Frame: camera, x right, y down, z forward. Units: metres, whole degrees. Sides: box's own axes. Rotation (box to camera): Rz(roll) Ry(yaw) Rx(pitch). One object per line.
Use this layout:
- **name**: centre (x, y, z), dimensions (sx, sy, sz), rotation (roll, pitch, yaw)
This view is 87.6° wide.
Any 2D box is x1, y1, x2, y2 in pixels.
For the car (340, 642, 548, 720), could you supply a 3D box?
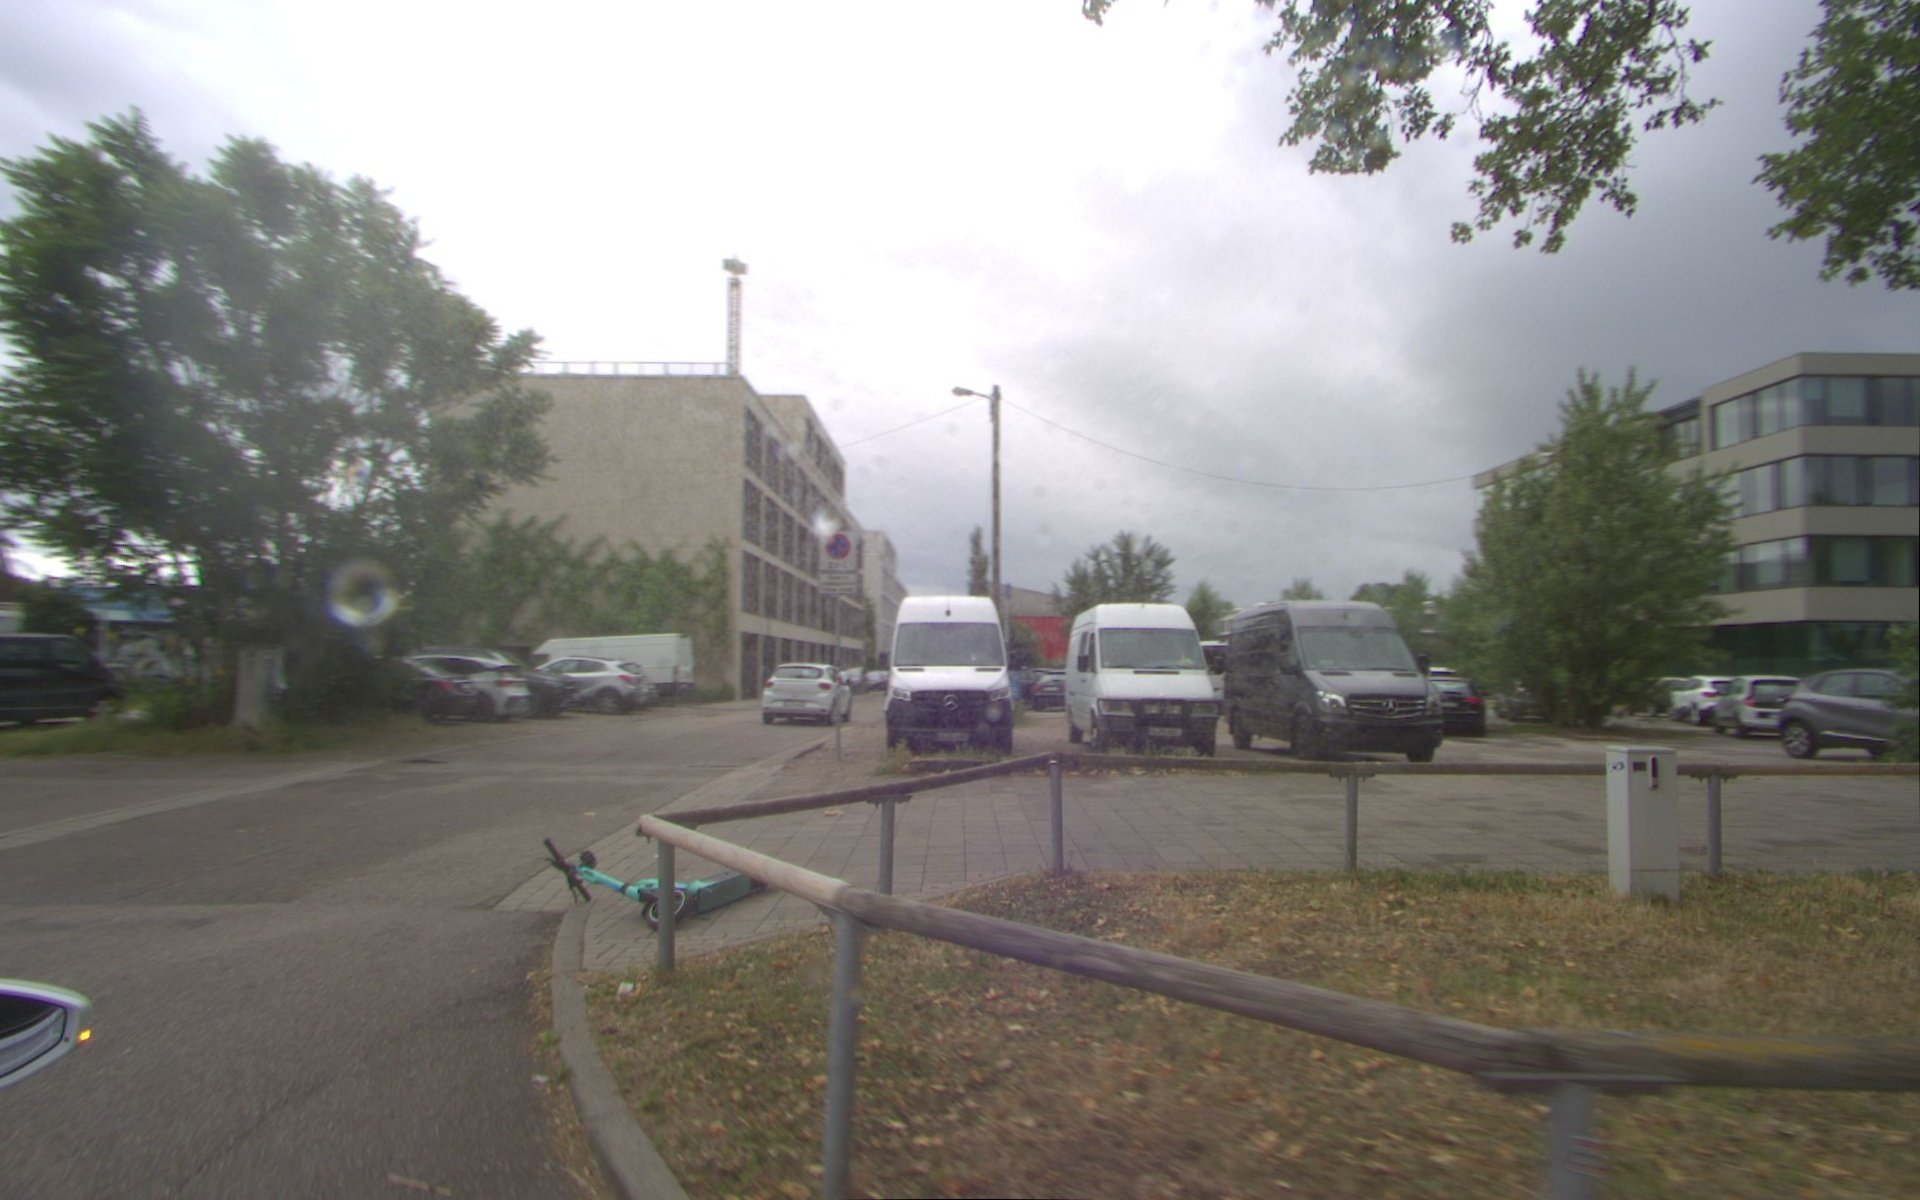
- **car**: centre (-12.302, 1.937, 24.085), dimensions (3.922, 1.664, 1.894), rotation (2, -4, -1)

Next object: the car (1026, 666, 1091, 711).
- **car**: centre (3.403, 3.057, 35.274), dimensions (1.854, 1.471, 4.004), rotation (0, -3, 0)

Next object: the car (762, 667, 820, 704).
- **car**: centre (-7.033, 3.544, 42.005), dimensions (1.855, 1.471, 4.004), rotation (0, -3, -2)

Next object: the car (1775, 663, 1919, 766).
- **car**: centre (15.704, 1.835, 16.291), dimensions (1.716, 1.598, 3.784), rotation (0, -4, -1)

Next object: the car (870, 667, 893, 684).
- **car**: centre (-6.886, 6.611, 87.833), dimensions (1.855, 1.471, 4.004), rotation (0, -3, -2)

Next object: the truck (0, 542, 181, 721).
- **truck**: centre (-22.145, 0.740, 22.671), dimensions (2.549, 3.869, 8.225), rotation (0, -3, 0)

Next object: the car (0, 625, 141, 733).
- **car**: centre (-19.158, 1.519, 19.905), dimensions (1.961, 2.039, 4.591), rotation (1, -2, 0)

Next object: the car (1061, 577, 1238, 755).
- **car**: centre (3.024, 1.229, 17.401), dimensions (2.000, 2.564, 5.814), rotation (0, -5, 1)

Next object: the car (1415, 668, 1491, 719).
- **car**: centre (16.399, 3.068, 33.474), dimensions (1.966, 1.537, 3.993), rotation (-1, -4, 22)

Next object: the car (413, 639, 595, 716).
- **car**: centre (-12.052, 2.043, 26.663), dimensions (3.922, 1.902, 1.893), rotation (1, -3, -1)

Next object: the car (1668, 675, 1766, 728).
- **car**: centre (25.033, 3.326, 33.263), dimensions (1.969, 1.571, 3.987), rotation (-2, -4, 28)

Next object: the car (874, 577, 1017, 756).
- **car**: centre (-0.235, 1.139, 17.490), dimensions (2.059, 2.587, 6.049), rotation (0, -3, -1)

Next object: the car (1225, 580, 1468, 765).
- **car**: centre (6.166, 1.287, 16.941), dimensions (2.128, 2.551, 5.814), rotation (1, -5, 3)

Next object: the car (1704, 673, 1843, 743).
- **car**: centre (20.573, 2.680, 25.521), dimensions (1.969, 1.571, 3.987), rotation (-2, -4, 28)

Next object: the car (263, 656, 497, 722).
- **car**: centre (-12.487, 1.945, 21.770), dimensions (3.922, 1.365, 1.895), rotation (0, -5, -1)

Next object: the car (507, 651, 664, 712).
- **car**: centre (-11.152, 2.433, 30.020), dimensions (3.922, 1.664, 1.893), rotation (2, -4, -1)

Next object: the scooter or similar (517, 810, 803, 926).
- **scooter or similar**: centre (-1.883, 1.669, 6.408), dimensions (1.309, 0.353, 1.177), rotation (-1, -2, 25)

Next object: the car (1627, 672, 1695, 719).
- **car**: centre (26.838, 3.599, 38.426), dimensions (1.973, 1.638, 4.388), rotation (-2, -4, 34)

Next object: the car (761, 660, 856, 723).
- **car**: centre (-3.808, 2.290, 25.759), dimensions (1.854, 1.471, 4.004), rotation (0, -3, 0)

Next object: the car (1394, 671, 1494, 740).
- **car**: centre (12.007, 2.562, 25.081), dimensions (1.966, 1.537, 3.993), rotation (-1, -4, 22)

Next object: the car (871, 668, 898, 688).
- **car**: centre (-5.676, 5.864, 75.356), dimensions (1.855, 1.471, 4.004), rotation (0, -3, -2)

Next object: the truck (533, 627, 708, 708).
- **truck**: centre (-12.656, 2.514, 37.547), dimensions (5.743, 2.761, 2.057), rotation (1, -3, 4)

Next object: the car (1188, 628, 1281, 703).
- **car**: centre (9.432, 2.215, 34.126), dimensions (1.970, 2.372, 4.705), rotation (-2, -4, 29)
